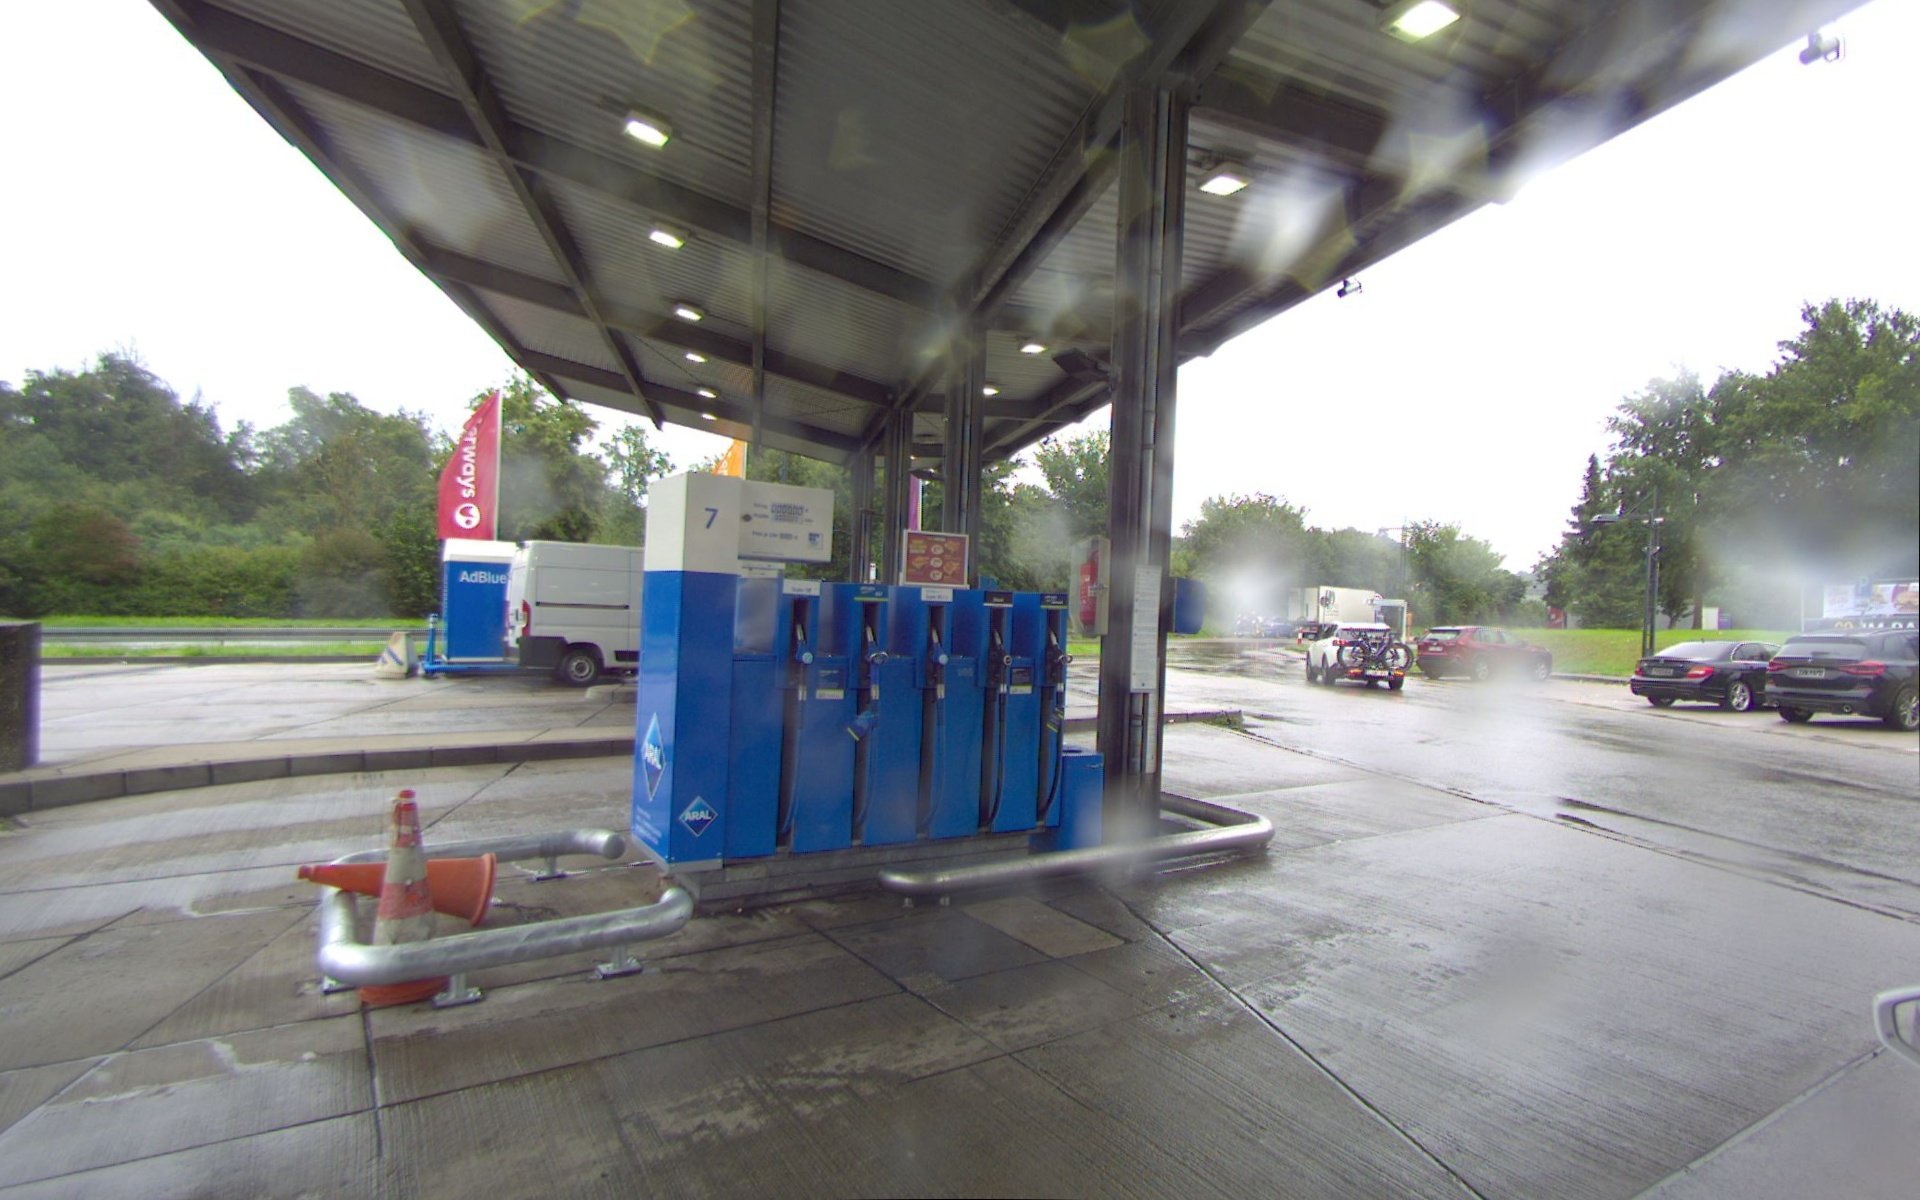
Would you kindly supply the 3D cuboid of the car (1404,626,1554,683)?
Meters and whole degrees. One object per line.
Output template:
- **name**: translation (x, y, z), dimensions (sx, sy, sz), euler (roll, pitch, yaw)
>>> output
- **car**: translation (16.013, 1.648, 30.978), dimensions (4.294, 1.617, 1.879), euler (1, -1, -24)

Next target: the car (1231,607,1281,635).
- **car**: translation (20.897, 1.467, 70.808), dimensions (1.903, 1.862, 4.373), euler (1, 0, 38)

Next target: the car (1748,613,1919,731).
- **car**: translation (16.163, 1.190, 17.412), dimensions (4.344, 1.852, 1.883), euler (1, -1, -19)

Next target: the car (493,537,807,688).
- **car**: translation (-5.768, 0.270, 18.974), dimensions (5.227, 2.496, 2.306), euler (1, -1, -34)

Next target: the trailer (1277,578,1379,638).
- **trailer**: translation (30.924, 0.757, 83.864), dimensions (3.416, 4.618, 13.847), euler (2, 0, 40)

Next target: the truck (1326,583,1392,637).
- **truck**: translation (35.597, 0.927, 89.468), dimensions (3.416, 4.618, 6.704), euler (2, 0, 40)

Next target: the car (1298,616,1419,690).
- **car**: translation (9.859, 1.229, 25.231), dimensions (1.783, 1.586, 5.007), euler (1, 0, 10)

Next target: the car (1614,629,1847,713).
- **car**: translation (15.950, 1.419, 20.832), dimensions (4.119, 1.585, 1.883), euler (1, -1, -19)
